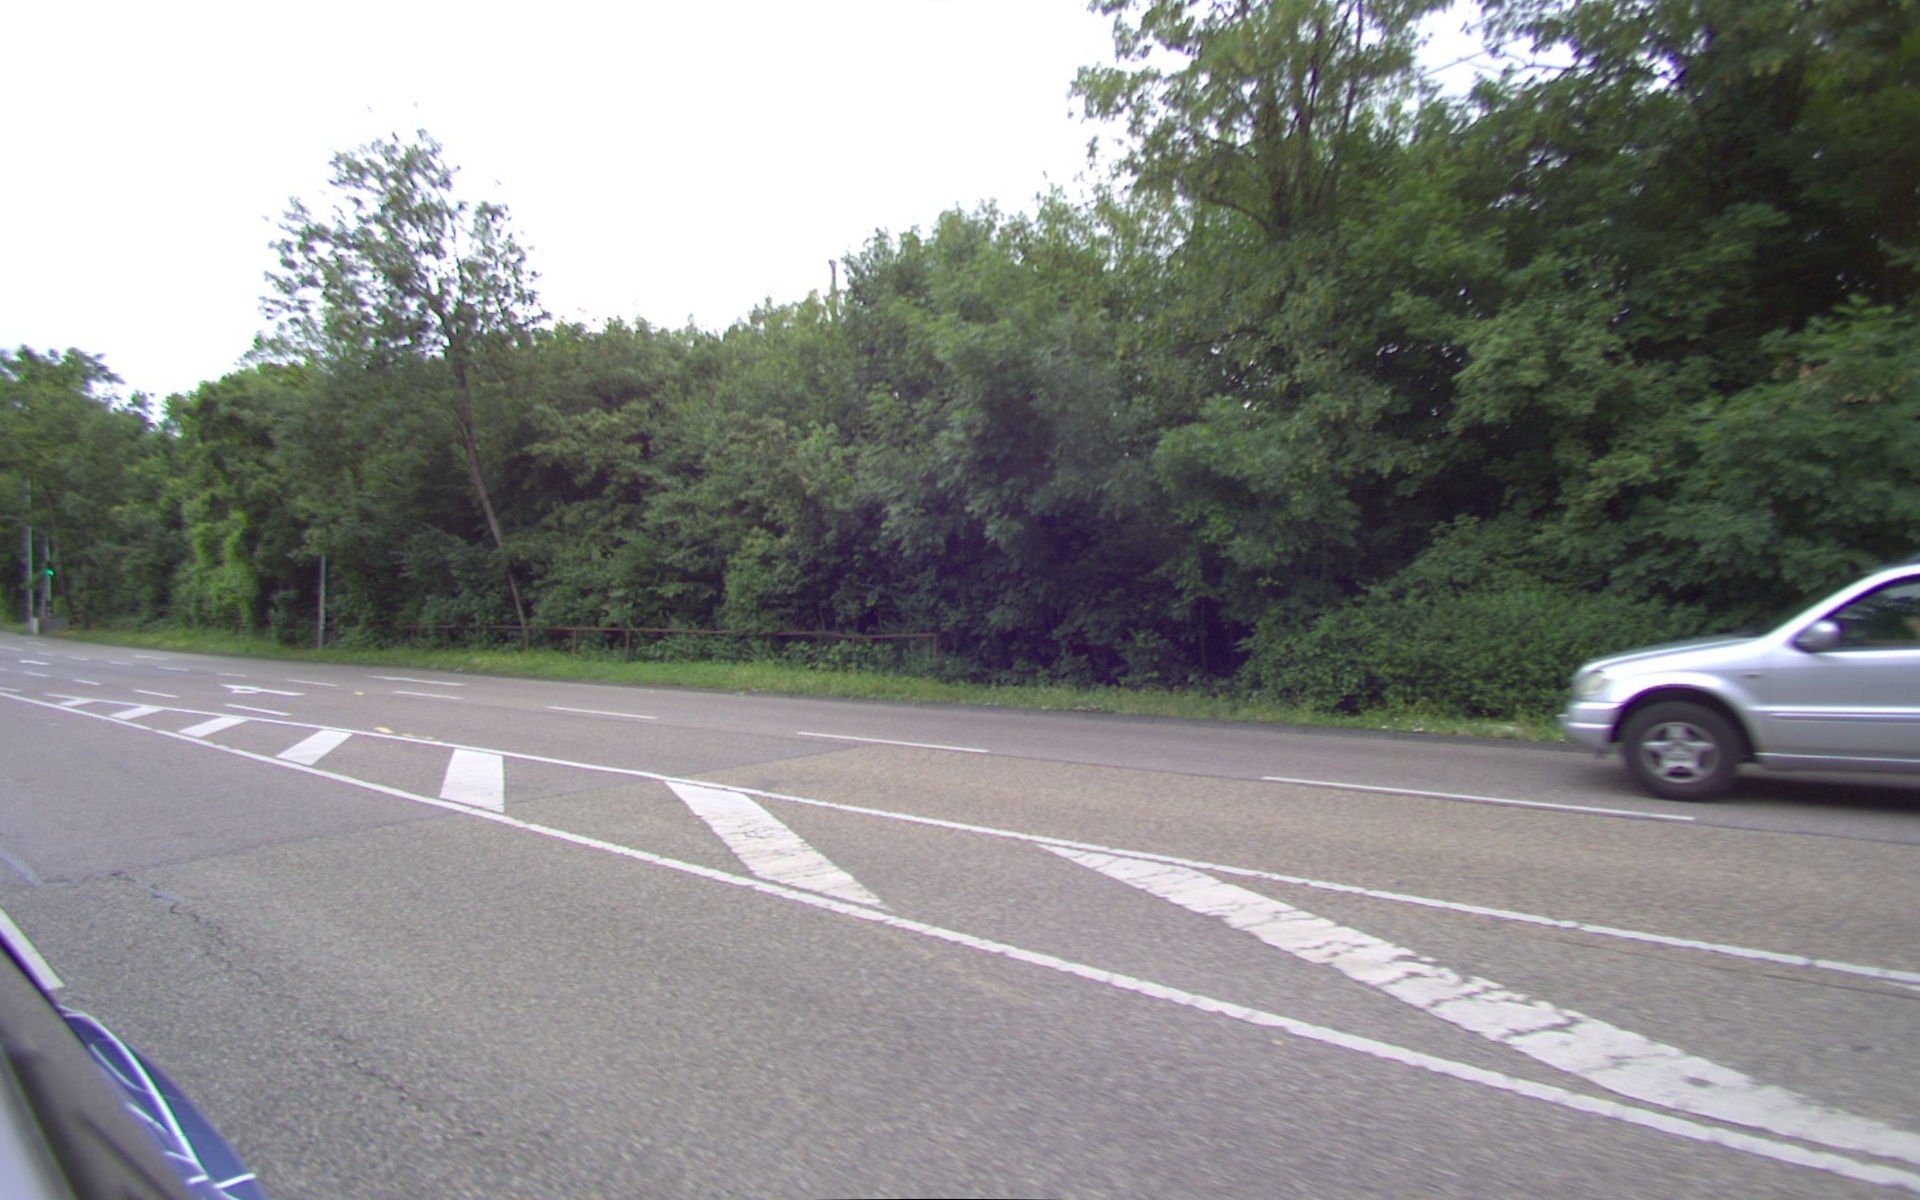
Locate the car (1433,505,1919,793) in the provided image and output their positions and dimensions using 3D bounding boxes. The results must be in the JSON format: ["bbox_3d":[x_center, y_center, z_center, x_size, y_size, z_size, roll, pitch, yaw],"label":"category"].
[{"bbox_3d":[6.162,0.337,7.651,4.378,1.844,1.796,-1,-2,38],"label":"car"}]
